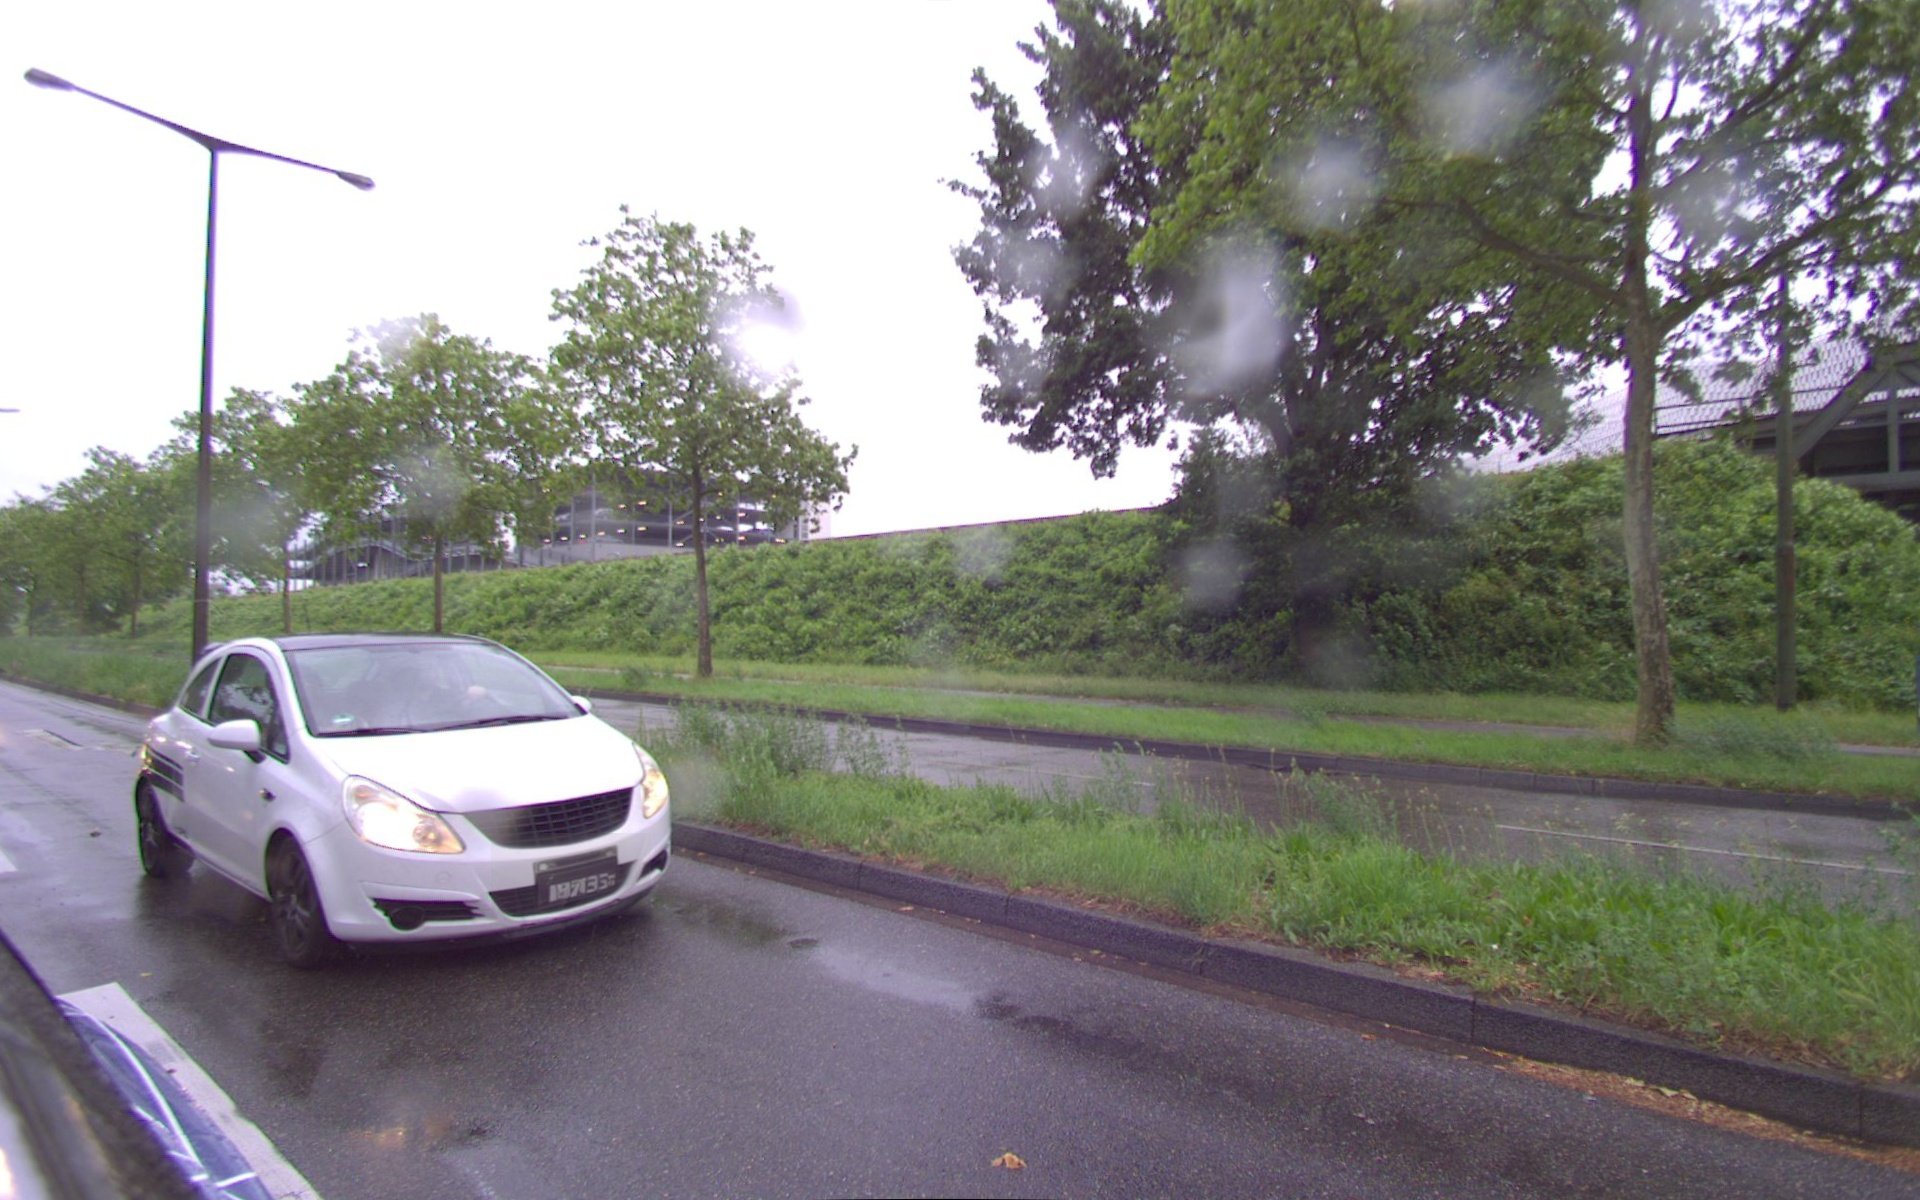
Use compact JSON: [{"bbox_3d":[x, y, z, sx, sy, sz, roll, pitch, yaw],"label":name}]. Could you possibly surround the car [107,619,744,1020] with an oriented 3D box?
[{"bbox_3d":[-3.118,0.838,5.528,4.007,1.387,1.662,-2,-1,40],"label":"car"}]
